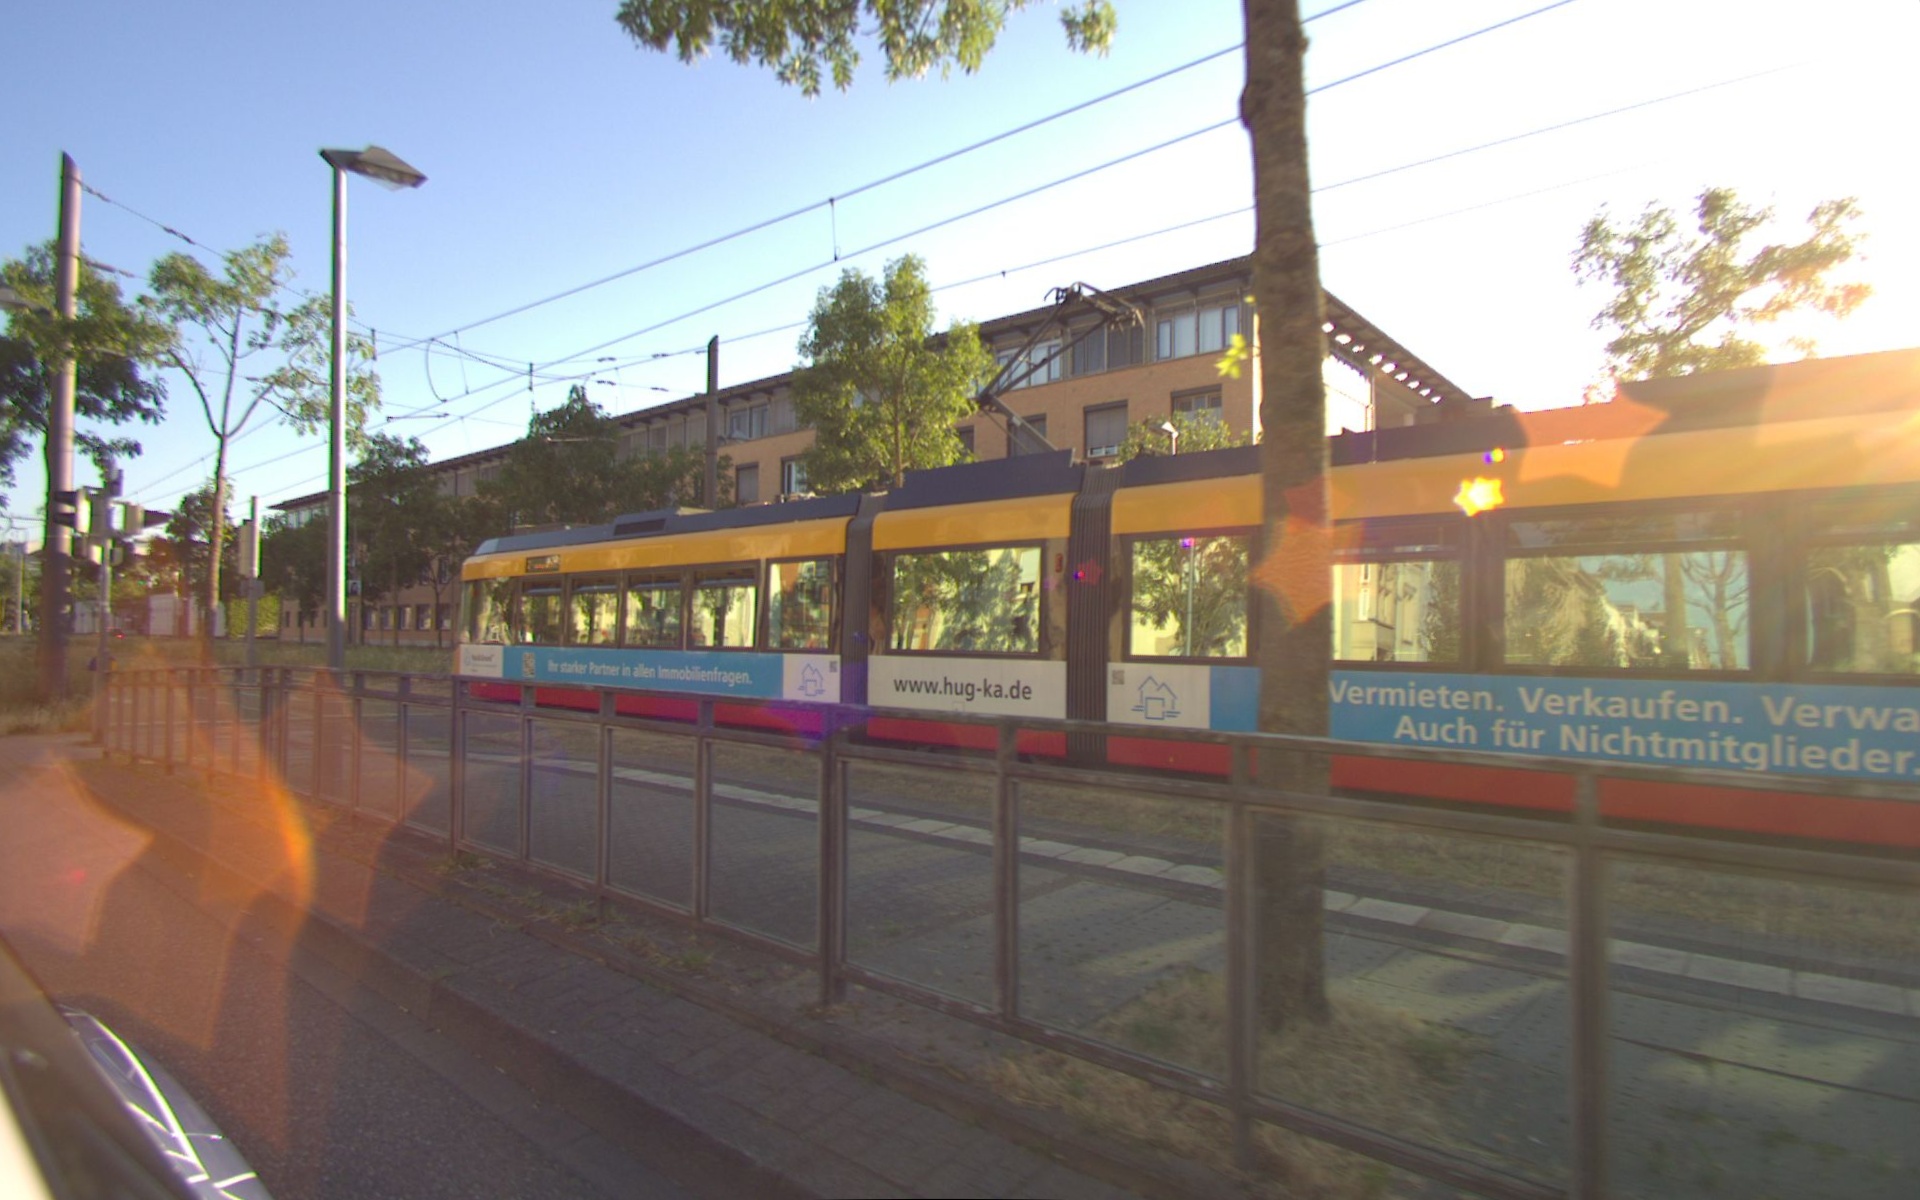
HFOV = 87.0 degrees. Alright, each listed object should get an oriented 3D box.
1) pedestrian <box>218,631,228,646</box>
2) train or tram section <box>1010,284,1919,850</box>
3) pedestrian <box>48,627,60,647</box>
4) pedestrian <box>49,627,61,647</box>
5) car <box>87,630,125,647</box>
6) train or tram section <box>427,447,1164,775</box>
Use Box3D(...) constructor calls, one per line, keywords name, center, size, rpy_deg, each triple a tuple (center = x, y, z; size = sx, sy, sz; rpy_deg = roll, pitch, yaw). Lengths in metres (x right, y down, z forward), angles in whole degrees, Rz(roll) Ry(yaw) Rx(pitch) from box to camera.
Box3D(name="pedestrian", center=(-68.233, 3.544, 93.740), size=(0.574, 1.378, 0.581), rpy_deg=(-1, -2, 35))
Box3D(name="train or tram section", center=(6.817, -0.164, 7.292), size=(13.851, 3.365, 3.395), rpy_deg=(-1, -2, 41))
Box3D(name="pedestrian", center=(-77.287, 3.147, 86.309), size=(0.544, 1.697, 0.512), rpy_deg=(-2, -2, 12))
Box3D(name="pedestrian", center=(-76.537, 3.108, 85.610), size=(0.544, 1.697, 0.512), rpy_deg=(0, -2, 13))
Box3D(name="car", center=(-71.117, 3.184, 84.236), size=(3.997, 1.386, 1.772), rpy_deg=(-1, -2, 41))
Box3D(name="train or tram section", center=(-4.073, 0.283, 16.916), size=(15.020, 3.456, 3.395), rpy_deg=(-1, -2, 41))
